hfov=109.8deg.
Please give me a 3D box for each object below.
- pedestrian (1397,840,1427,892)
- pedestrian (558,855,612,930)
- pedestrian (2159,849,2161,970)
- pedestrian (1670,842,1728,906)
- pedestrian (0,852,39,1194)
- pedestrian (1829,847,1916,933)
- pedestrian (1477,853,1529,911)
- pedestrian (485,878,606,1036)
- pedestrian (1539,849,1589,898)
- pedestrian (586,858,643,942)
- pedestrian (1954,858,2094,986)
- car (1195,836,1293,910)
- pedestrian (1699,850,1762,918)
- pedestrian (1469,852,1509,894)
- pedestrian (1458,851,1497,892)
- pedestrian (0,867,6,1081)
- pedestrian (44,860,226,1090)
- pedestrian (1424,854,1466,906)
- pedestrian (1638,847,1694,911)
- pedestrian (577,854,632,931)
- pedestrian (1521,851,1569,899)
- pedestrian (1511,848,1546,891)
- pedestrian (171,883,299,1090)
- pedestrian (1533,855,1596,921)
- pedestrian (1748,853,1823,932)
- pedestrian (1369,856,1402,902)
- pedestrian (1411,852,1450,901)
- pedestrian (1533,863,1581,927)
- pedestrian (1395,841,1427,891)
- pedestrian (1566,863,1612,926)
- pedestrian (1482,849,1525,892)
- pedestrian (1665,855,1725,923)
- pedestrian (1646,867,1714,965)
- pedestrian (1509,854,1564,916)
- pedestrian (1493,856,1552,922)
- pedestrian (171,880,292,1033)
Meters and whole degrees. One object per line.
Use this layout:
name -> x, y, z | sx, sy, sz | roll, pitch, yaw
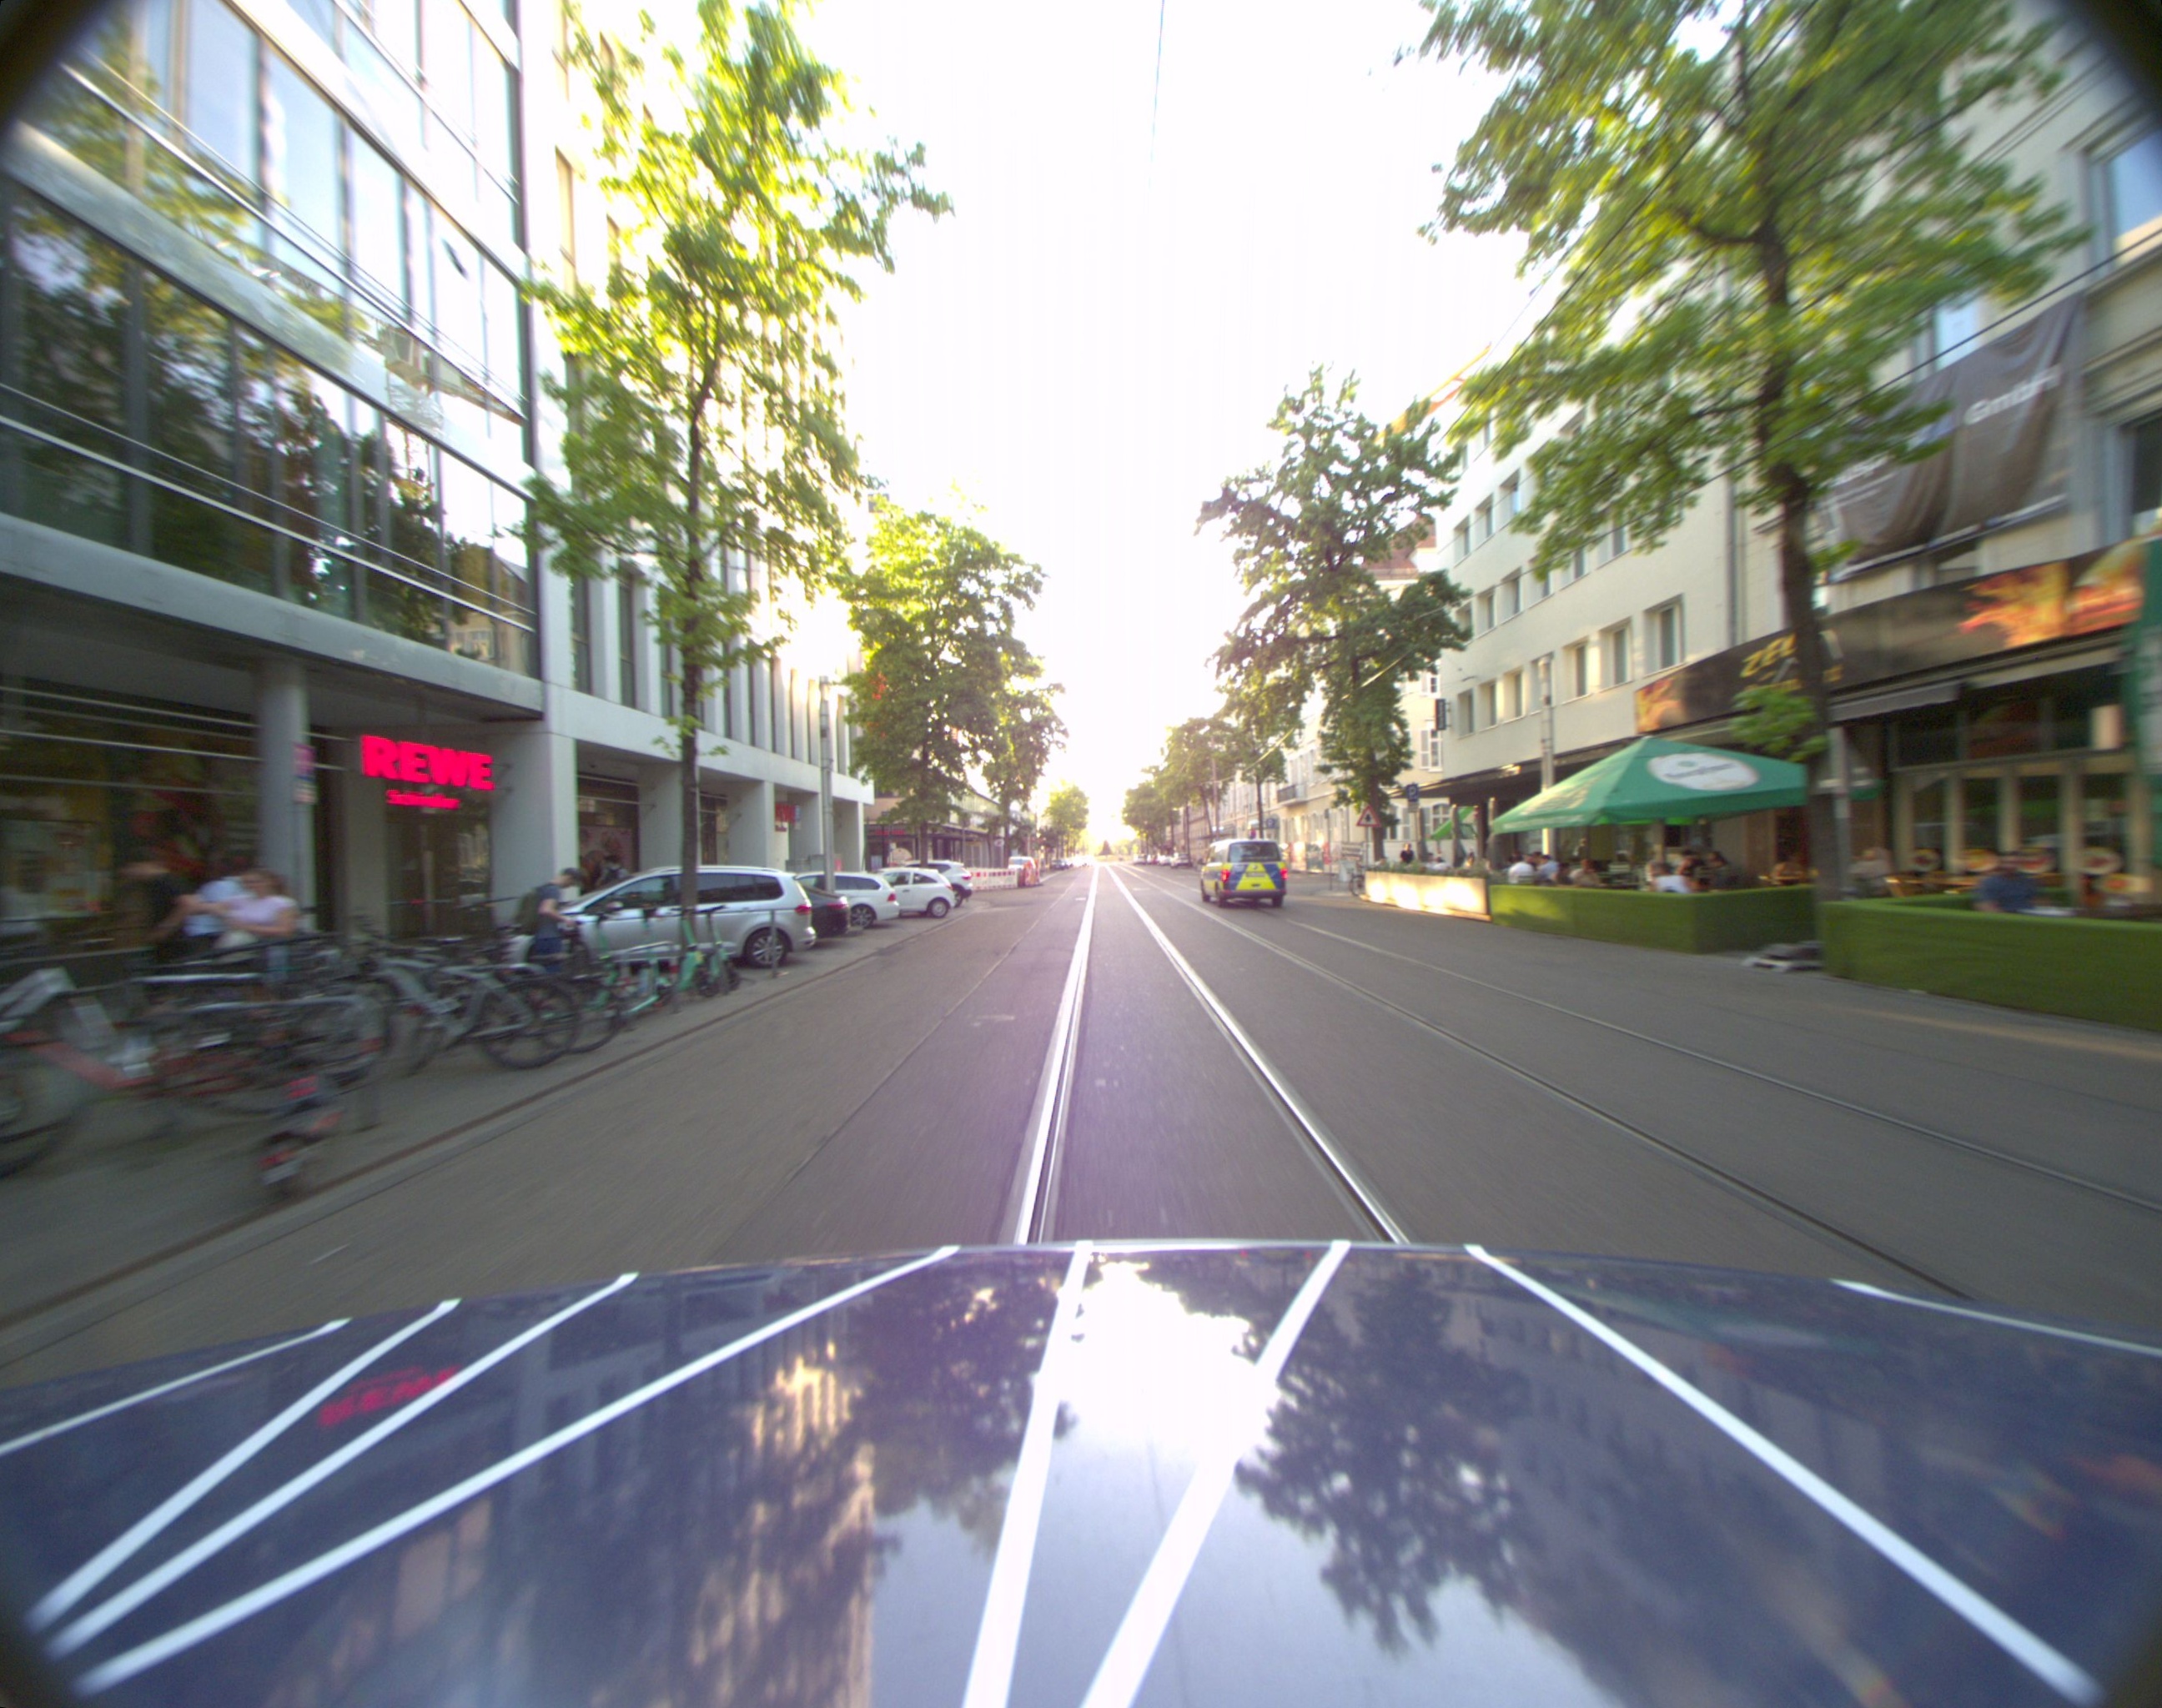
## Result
pedestrian -> 11.455, 0.405, 26.299 | 0.783, 1.731, 0.640 | -4, 2, -40
pedestrian -> -11.591, 0.893, 17.780 | 0.681, 1.689, 0.806 | -2, -1, 1
pedestrian -> 12.482, 0.621, 8.182 | 0.656, 1.370, 0.765 | -2, 1, 2
pedestrian -> 13.783, 0.437, 16.961 | 0.656, 1.370, 0.765 | -2, 1, 2
pedestrian -> -6.419, 0.929, 3.863 | 0.952, 1.902, 0.862 | 1, -1, -10
pedestrian -> 13.287, 0.584, 12.776 | 0.656, 1.370, 0.765 | -2, 1, 2
pedestrian -> 10.365, 0.673, 18.698 | 0.717, 1.354, 1.012 | -2, 1, 4
pedestrian -> -5.910, 1.085, 8.409 | 0.790, 1.616, 0.770 | 0, 0, 20
pedestrian -> 13.422, 0.530, 21.136 | 0.849, 1.312, 0.882 | -2, 1, 6
pedestrian -> -10.167, 0.986, 16.580 | 0.681, 1.760, 0.806 | -2, -1, 1
pedestrian -> 9.863, 0.693, 7.970 | 0.710, 1.257, 0.600 | -2, 1, 2
car -> 4.838, 0.515, 23.238 | 1.998, 1.965, 4.850 | -2, 0, 1
pedestrian -> 13.757, 0.613, 16.107 | 0.656, 1.370, 0.765 | -2, 1, 2
pedestrian -> 13.437, 0.630, 25.054 | 0.849, 1.312, 0.882 | -2, 1, 6
pedestrian -> 13.577, 0.589, 26.017 | 0.887, 1.312, 0.882 | -2, 1, 5
pedestrian -> -8.955, 0.981, 5.761 | 0.718, 1.744, 0.730 | 0, 1, -37
pedestrian -> -8.207, 0.955, 6.609 | 0.885, 1.802, 0.939 | 0, 1, 37
pedestrian -> 9.928, 0.701, 20.751 | 0.717, 1.354, 0.872 | -2, 1, 4
pedestrian -> 13.102, 0.541, 17.027 | 0.656, 1.370, 0.765 | -2, 1, 2
pedestrian -> -10.864, 0.871, 17.340 | 0.681, 1.689, 0.806 | -2, -1, 1
pedestrian -> 13.507, 0.604, 22.139 | 0.887, 1.312, 0.882 | -2, 1, 5
pedestrian -> 14.137, 0.472, 24.005 | 0.623, 1.312, 0.842 | -2, 1, 5
pedestrian -> -7.237, 1.069, 6.501 | 0.704, 1.615, 0.661 | 0, 1, 37
pedestrian -> 10.400, 0.710, 16.390 | 0.717, 1.354, 1.012 | -2, 1, 4
pedestrian -> 12.843, 0.681, 13.869 | 0.656, 1.370, 0.765 | -2, 1, 2
pedestrian -> 9.488, 0.759, 23.678 | 0.694, 1.369, 0.793 | -2, 1, 4
pedestrian -> 10.049, 0.633, 21.866 | 0.717, 1.354, 0.924 | -2, 1, 4
pedestrian -> 9.517, 0.818, 15.204 | 0.587, 1.228, 0.544 | -2, 1, 3
pedestrian -> 11.745, 0.414, 27.032 | 0.782, 1.731, 0.640 | -3, 2, -29
pedestrian -> 10.131, 0.793, 15.166 | 0.544, 1.211, 0.511 | -2, 1, 3
pedestrian -> 13.355, 0.516, 24.062 | 0.887, 1.312, 0.882 | -2, 1, 5
pedestrian -> 13.062, 0.729, 16.189 | 0.656, 1.370, 0.765 | -2, 1, 2
pedestrian -> 8.858, 0.901, 11.256 | 0.548, 1.370, 0.564 | -2, 1, 2
pedestrian -> 10.437, 0.691, 17.445 | 0.717, 1.354, 0.924 | -2, 1, 4
pedestrian -> 9.620, 0.738, 16.594 | 0.717, 1.354, 1.012 | -2, 1, 4
pedestrian -> -9.312, 1.081, 8.339 | 0.761, 1.563, 0.632 | -1, 1, 24
